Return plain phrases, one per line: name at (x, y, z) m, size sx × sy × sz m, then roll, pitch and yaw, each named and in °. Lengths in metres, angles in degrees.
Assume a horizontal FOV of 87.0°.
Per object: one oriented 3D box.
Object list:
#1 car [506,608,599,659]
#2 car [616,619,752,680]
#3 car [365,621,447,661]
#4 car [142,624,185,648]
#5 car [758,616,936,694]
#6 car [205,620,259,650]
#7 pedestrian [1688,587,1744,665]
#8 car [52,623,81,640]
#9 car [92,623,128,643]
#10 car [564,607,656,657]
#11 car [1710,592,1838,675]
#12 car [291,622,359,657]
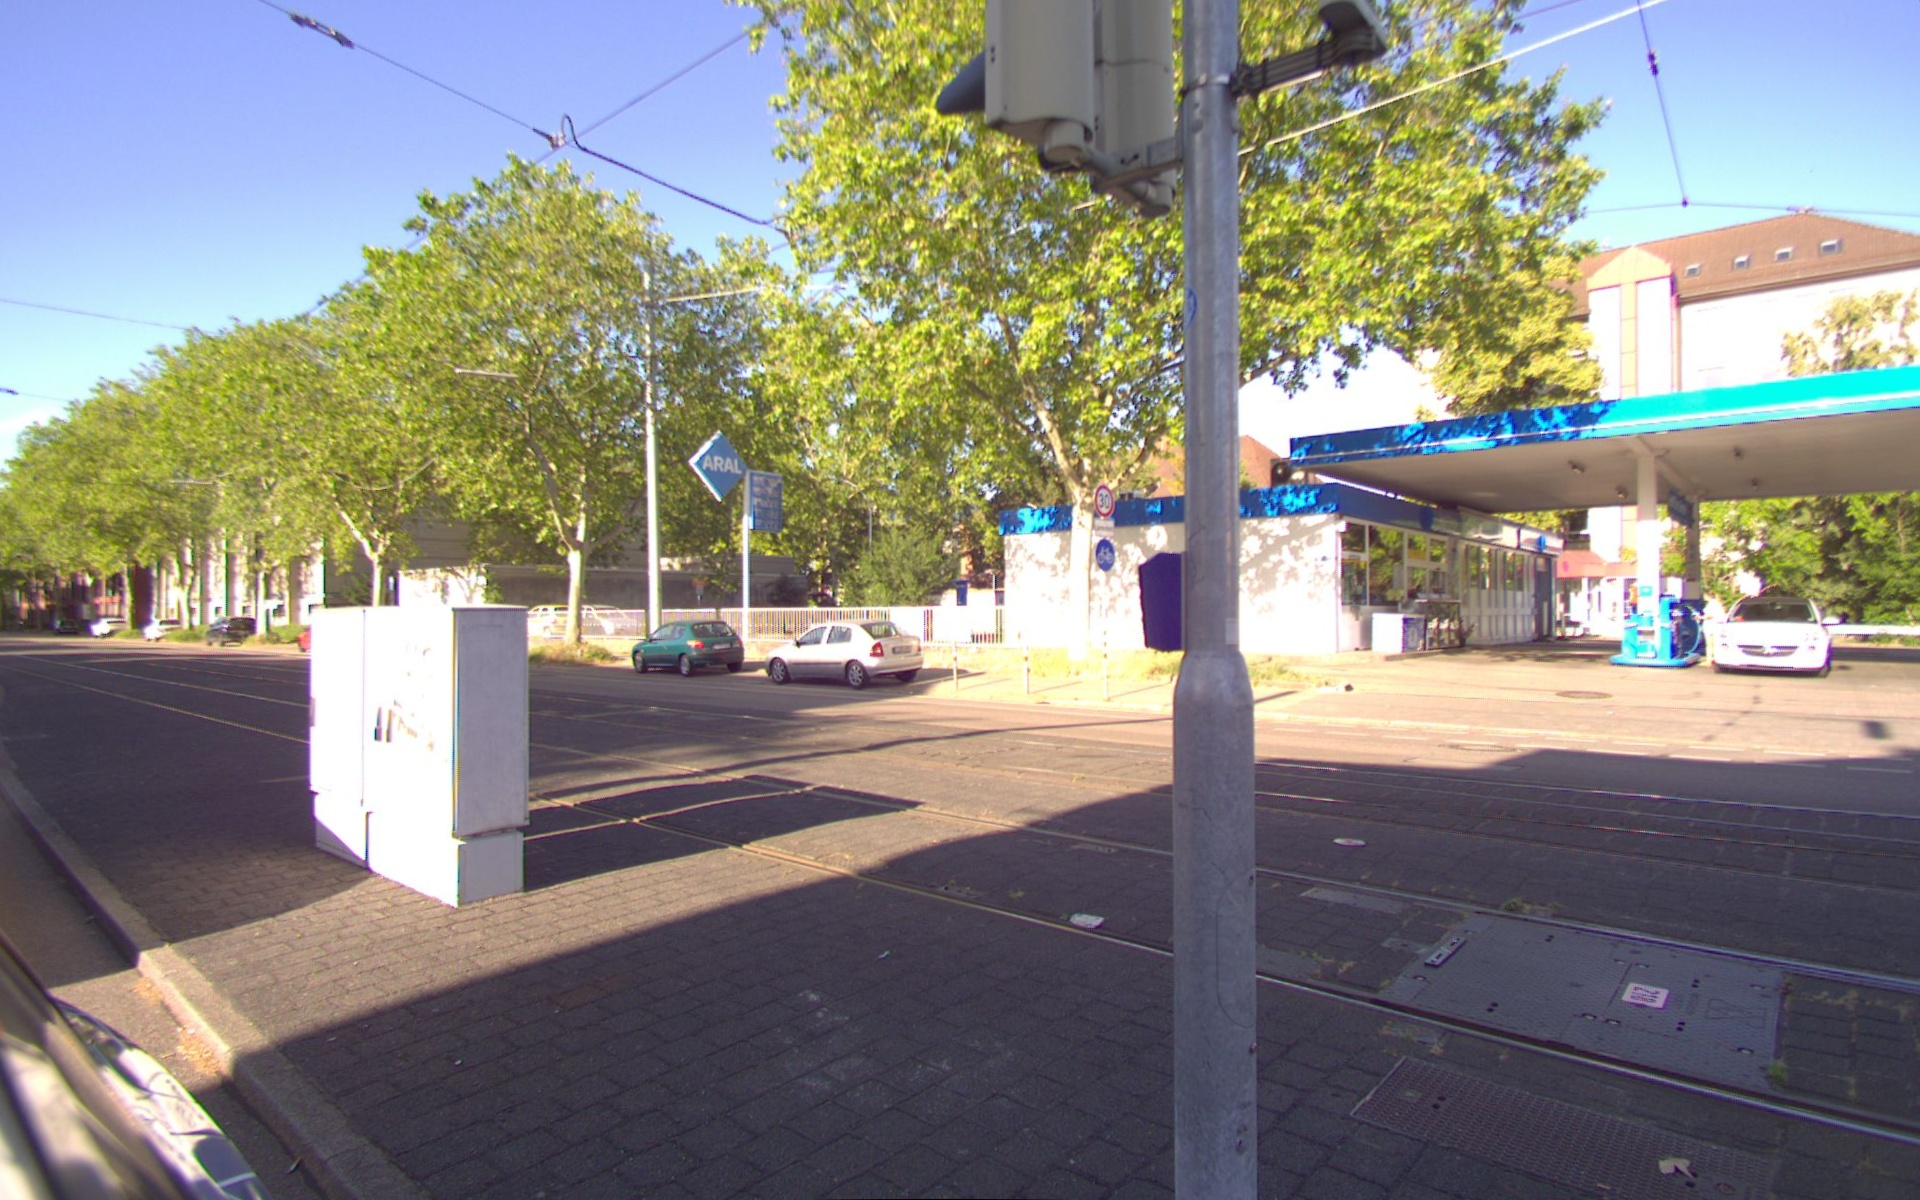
car at (-17.044, 1.393, 42.269) m, size 3.996 × 2.029 × 1.974 m, roll -1°, pitch -1°, yaw 39°
car at (-7.434, 1.275, 27.082) m, size 3.858 × 1.408 × 1.722 m, roll -1°, pitch 1°, yaw 43°
car at (-21.985, 1.588, 40.098) m, size 3.858 × 1.468 × 1.735 m, roll -1°, pitch 0°, yaw 43°
car at (-53.637, 2.397, 68.130) m, size 3.858 × 1.495 × 1.735 m, roll -1°, pitch 0°, yaw 43°
car at (-2.574, 1.168, 22.602) m, size 3.857 × 1.497 × 1.823 m, roll -1°, pitch 1°, yaw 42°
car at (-40.675, 1.954, 56.493) m, size 3.858 × 1.557 × 1.735 m, roll -1°, pitch 0°, yaw 43°
pedestrian at (16.140, 0.554, 21.625) m, size 0.808 × 1.642 × 0.642 m, roll -1°, pitch -1°, yaw 24°
car at (-84.870, 3.008, 96.125) m, size 3.858 × 1.495 × 1.735 m, roll -1°, pitch 0°, yaw 43°
car at (-66.924, 2.577, 79.650) m, size 3.858 × 1.495 × 1.735 m, roll -1°, pitch 0°, yaw 43°
car at (-15.145, 1.363, 43.696) m, size 3.996 × 2.029 × 1.974 m, roll -1°, pitch -1°, yaw 39°
car at (15.940, 0.614, 19.787) m, size 1.793 × 1.453 × 3.946 m, roll -1°, pitch -1°, yaw 40°
car at (-28.911, 1.773, 46.052) m, size 3.858 × 1.440 × 1.695 m, roll -1°, pitch 0°, yaw 43°
